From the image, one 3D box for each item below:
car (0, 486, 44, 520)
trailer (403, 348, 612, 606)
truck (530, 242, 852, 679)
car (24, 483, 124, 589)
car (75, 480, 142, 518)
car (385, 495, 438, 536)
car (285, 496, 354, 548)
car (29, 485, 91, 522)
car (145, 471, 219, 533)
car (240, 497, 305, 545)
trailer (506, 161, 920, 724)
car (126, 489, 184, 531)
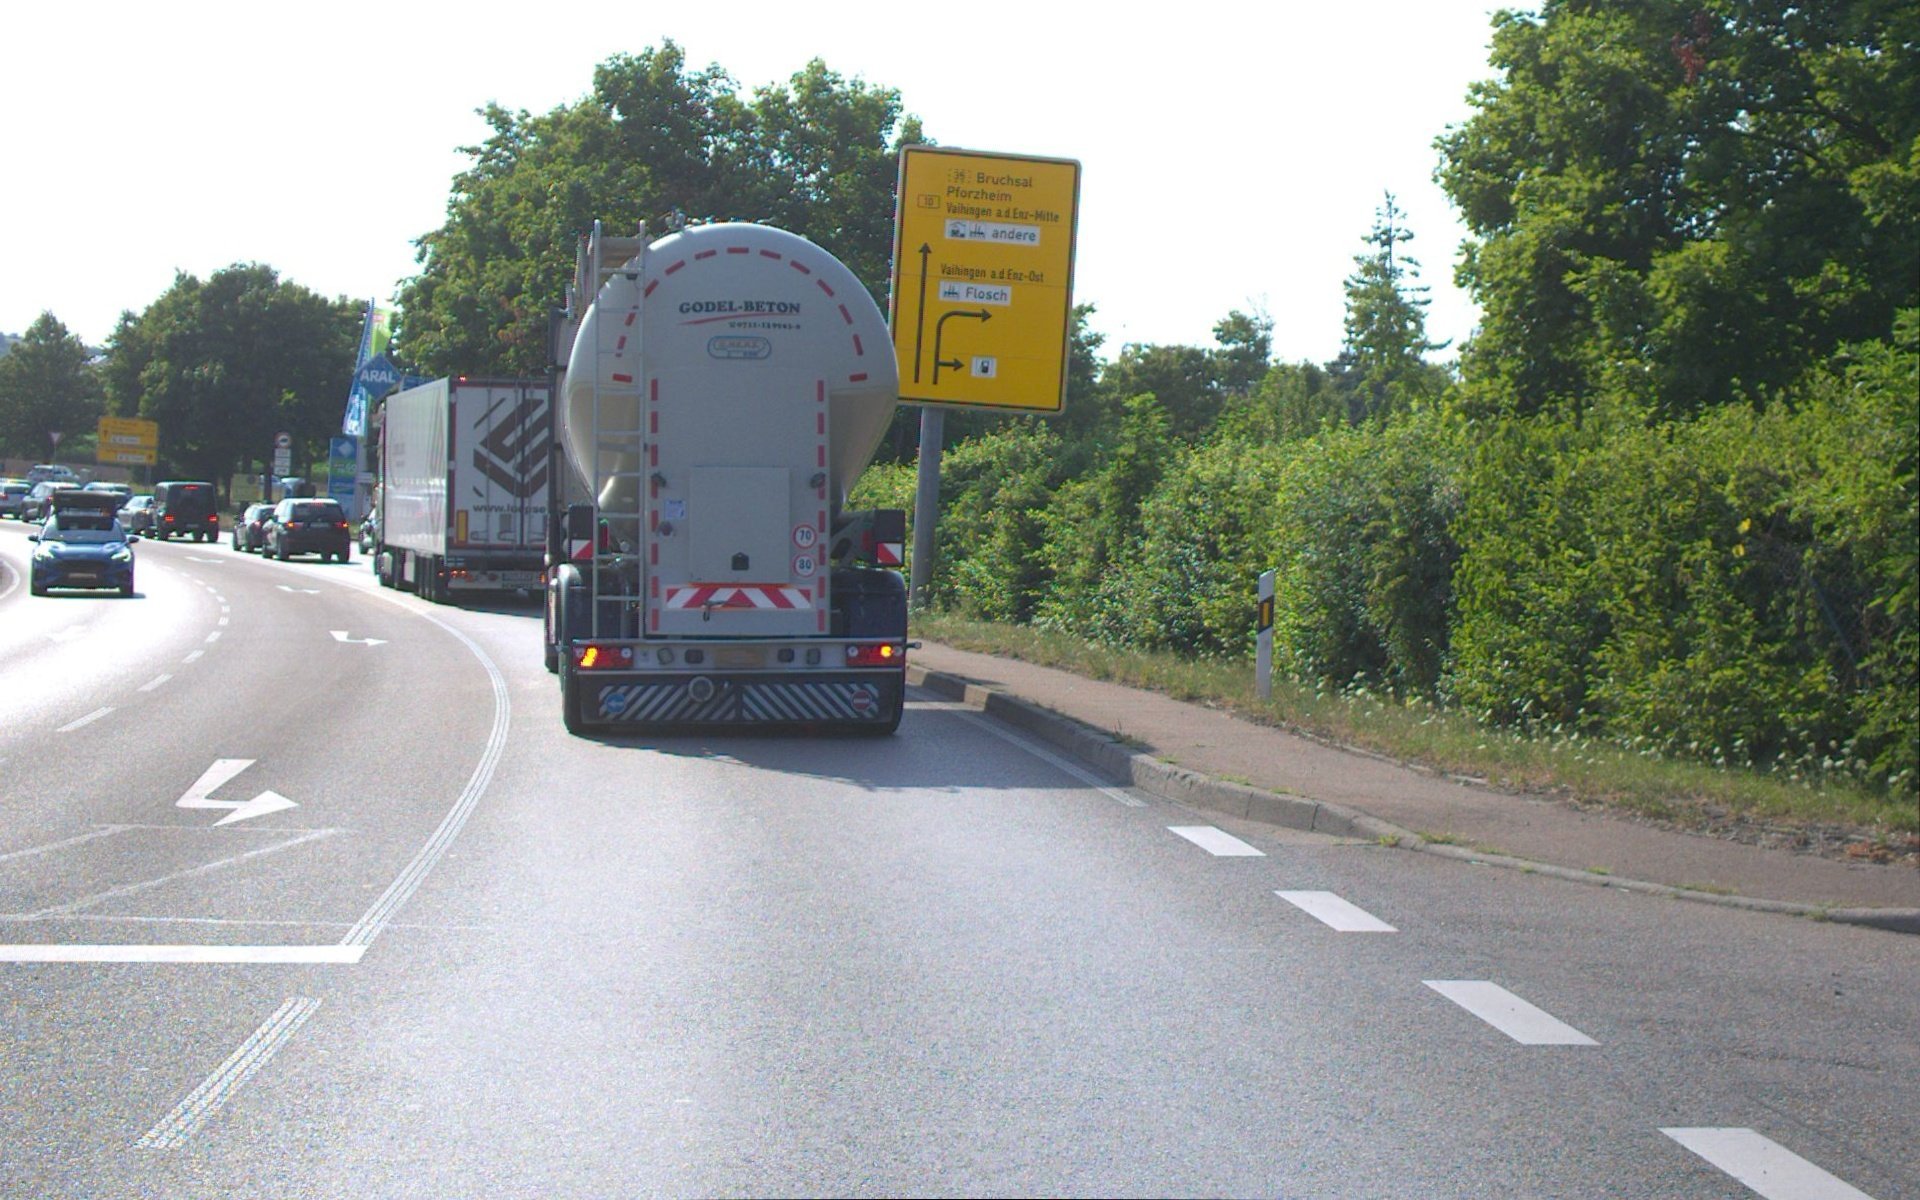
[{"bbox_3d":[-39.349,-4.044,142.984,1.580,1.336,3.426,2,1,-29],"label":"car"},{"bbox_3d":[-8.884,-2.320,65.943,2.954,4.300,14.180,2,1,-11],"label":"trailer"},{"bbox_3d":[-2.707,-1.332,33.906,2.909,3.992,4.061,1,1,-6],"label":"truck"},{"bbox_3d":[-16.276,-1.197,63.261,1.724,1.876,4.337,0,2,-14],"label":"car"},{"bbox_3d":[-32.165,-3.818,129.827,1.580,1.336,3.426,2,1,-29],"label":"car"},{"bbox_3d":[-18.966,-2.926,118.759,1.674,1.336,3.427,2,1,-11],"label":"car"},{"bbox_3d":[-17.648,-2.164,94.683,1.580,1.336,3.427,2,1,-15],"label":"car"},{"bbox_3d":[-35.467,-3.802,135.435,1.580,1.336,3.426,2,1,-29],"label":"car"},{"bbox_3d":[-26.312,-3.320,116.194,1.861,2.006,3.720,1,2,-22],"label":"car"},{"bbox_3d":[-20.545,-2.378,102.664,1.580,1.336,3.427,2,1,-17],"label":"car"},{"bbox_3d":[-2.266,-1.250,29.696,2.909,3.992,9.932,1,1,-6],"label":"trailer"},{"bbox_3d":[-28.900,-3.223,123.370,1.414,1.428,3.148,0,0,-25],"label":"car"}]
